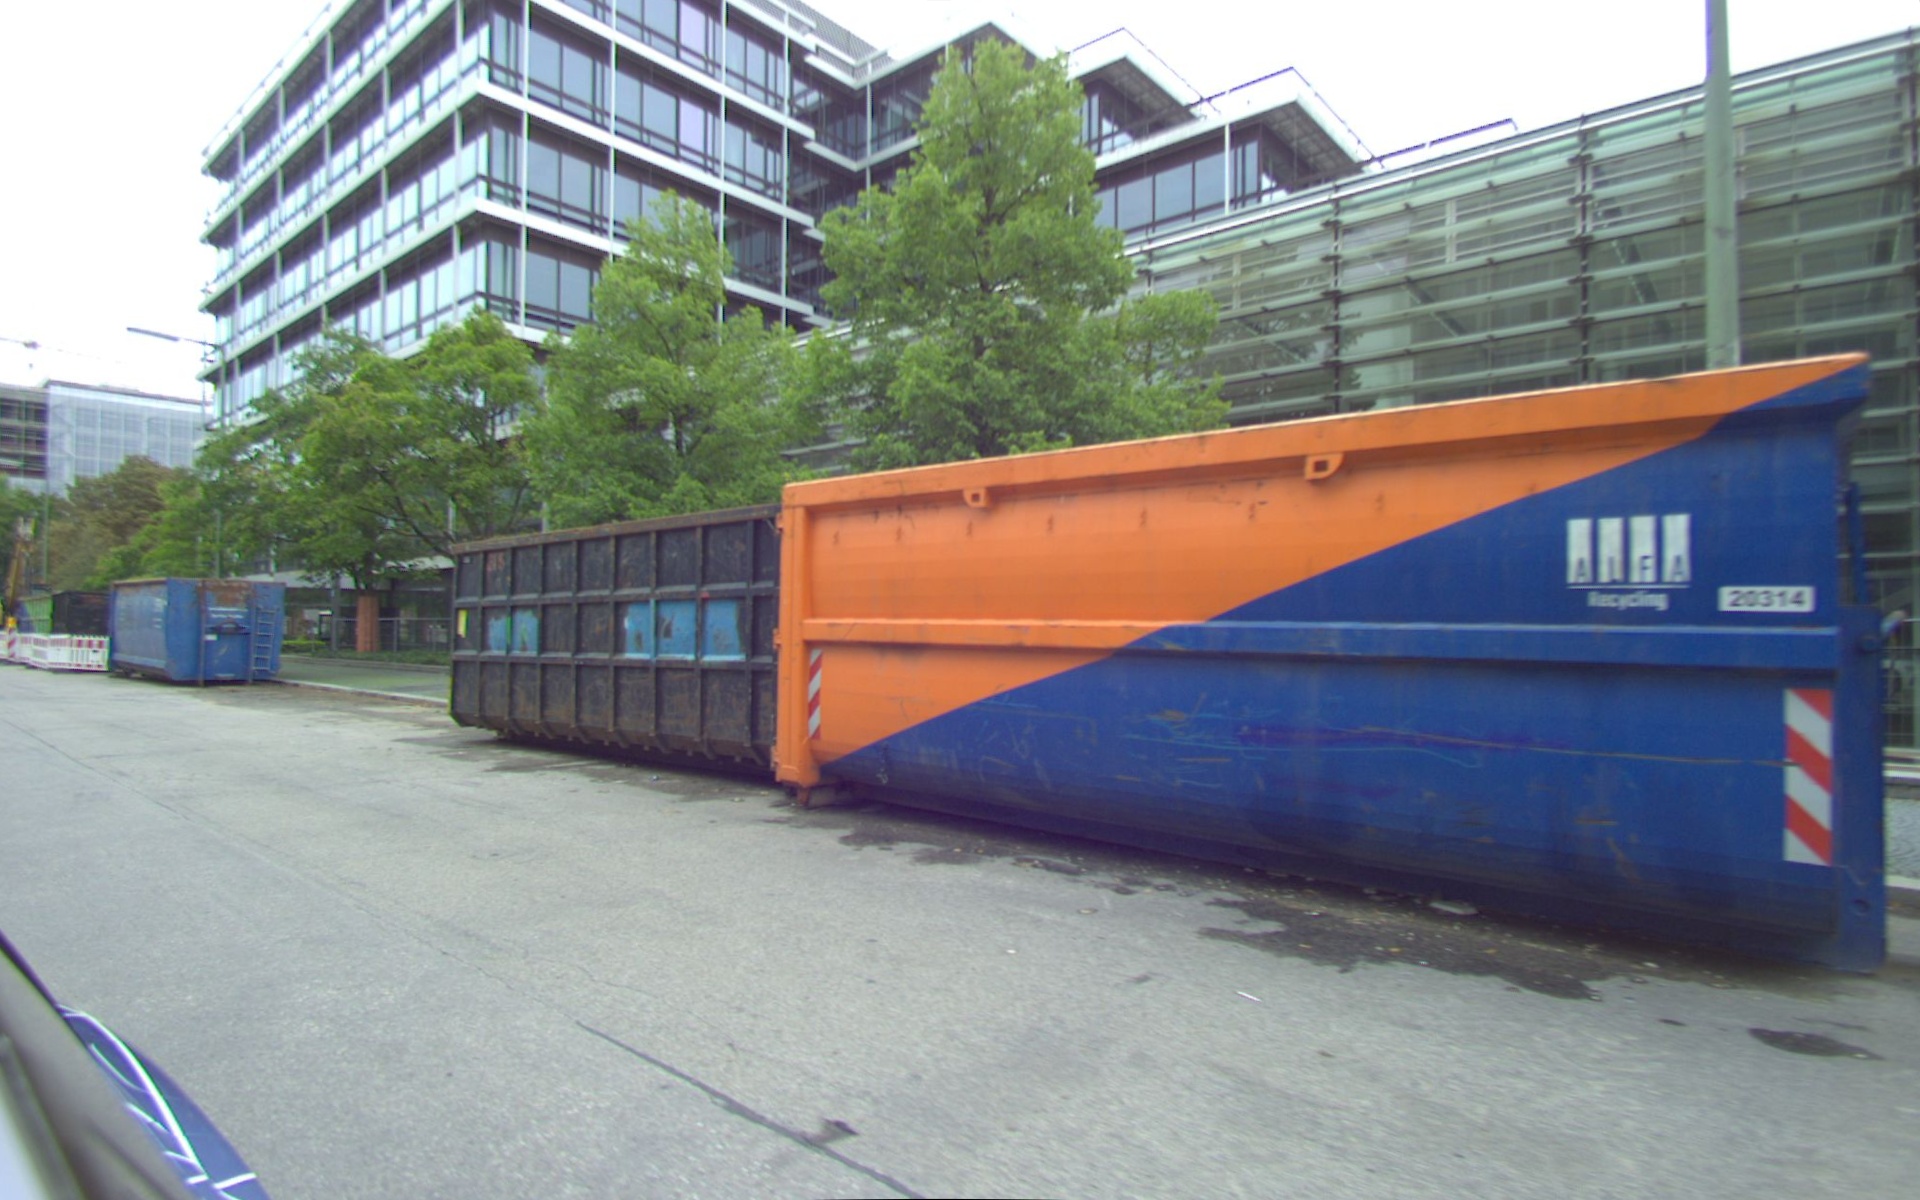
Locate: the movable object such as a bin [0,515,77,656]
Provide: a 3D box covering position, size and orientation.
[{"bbox_3d":[-45.466,-0.557,49.018,8.337,6.370,3.198,-1,-2,43],"label":"movable object such as a bin"}]
